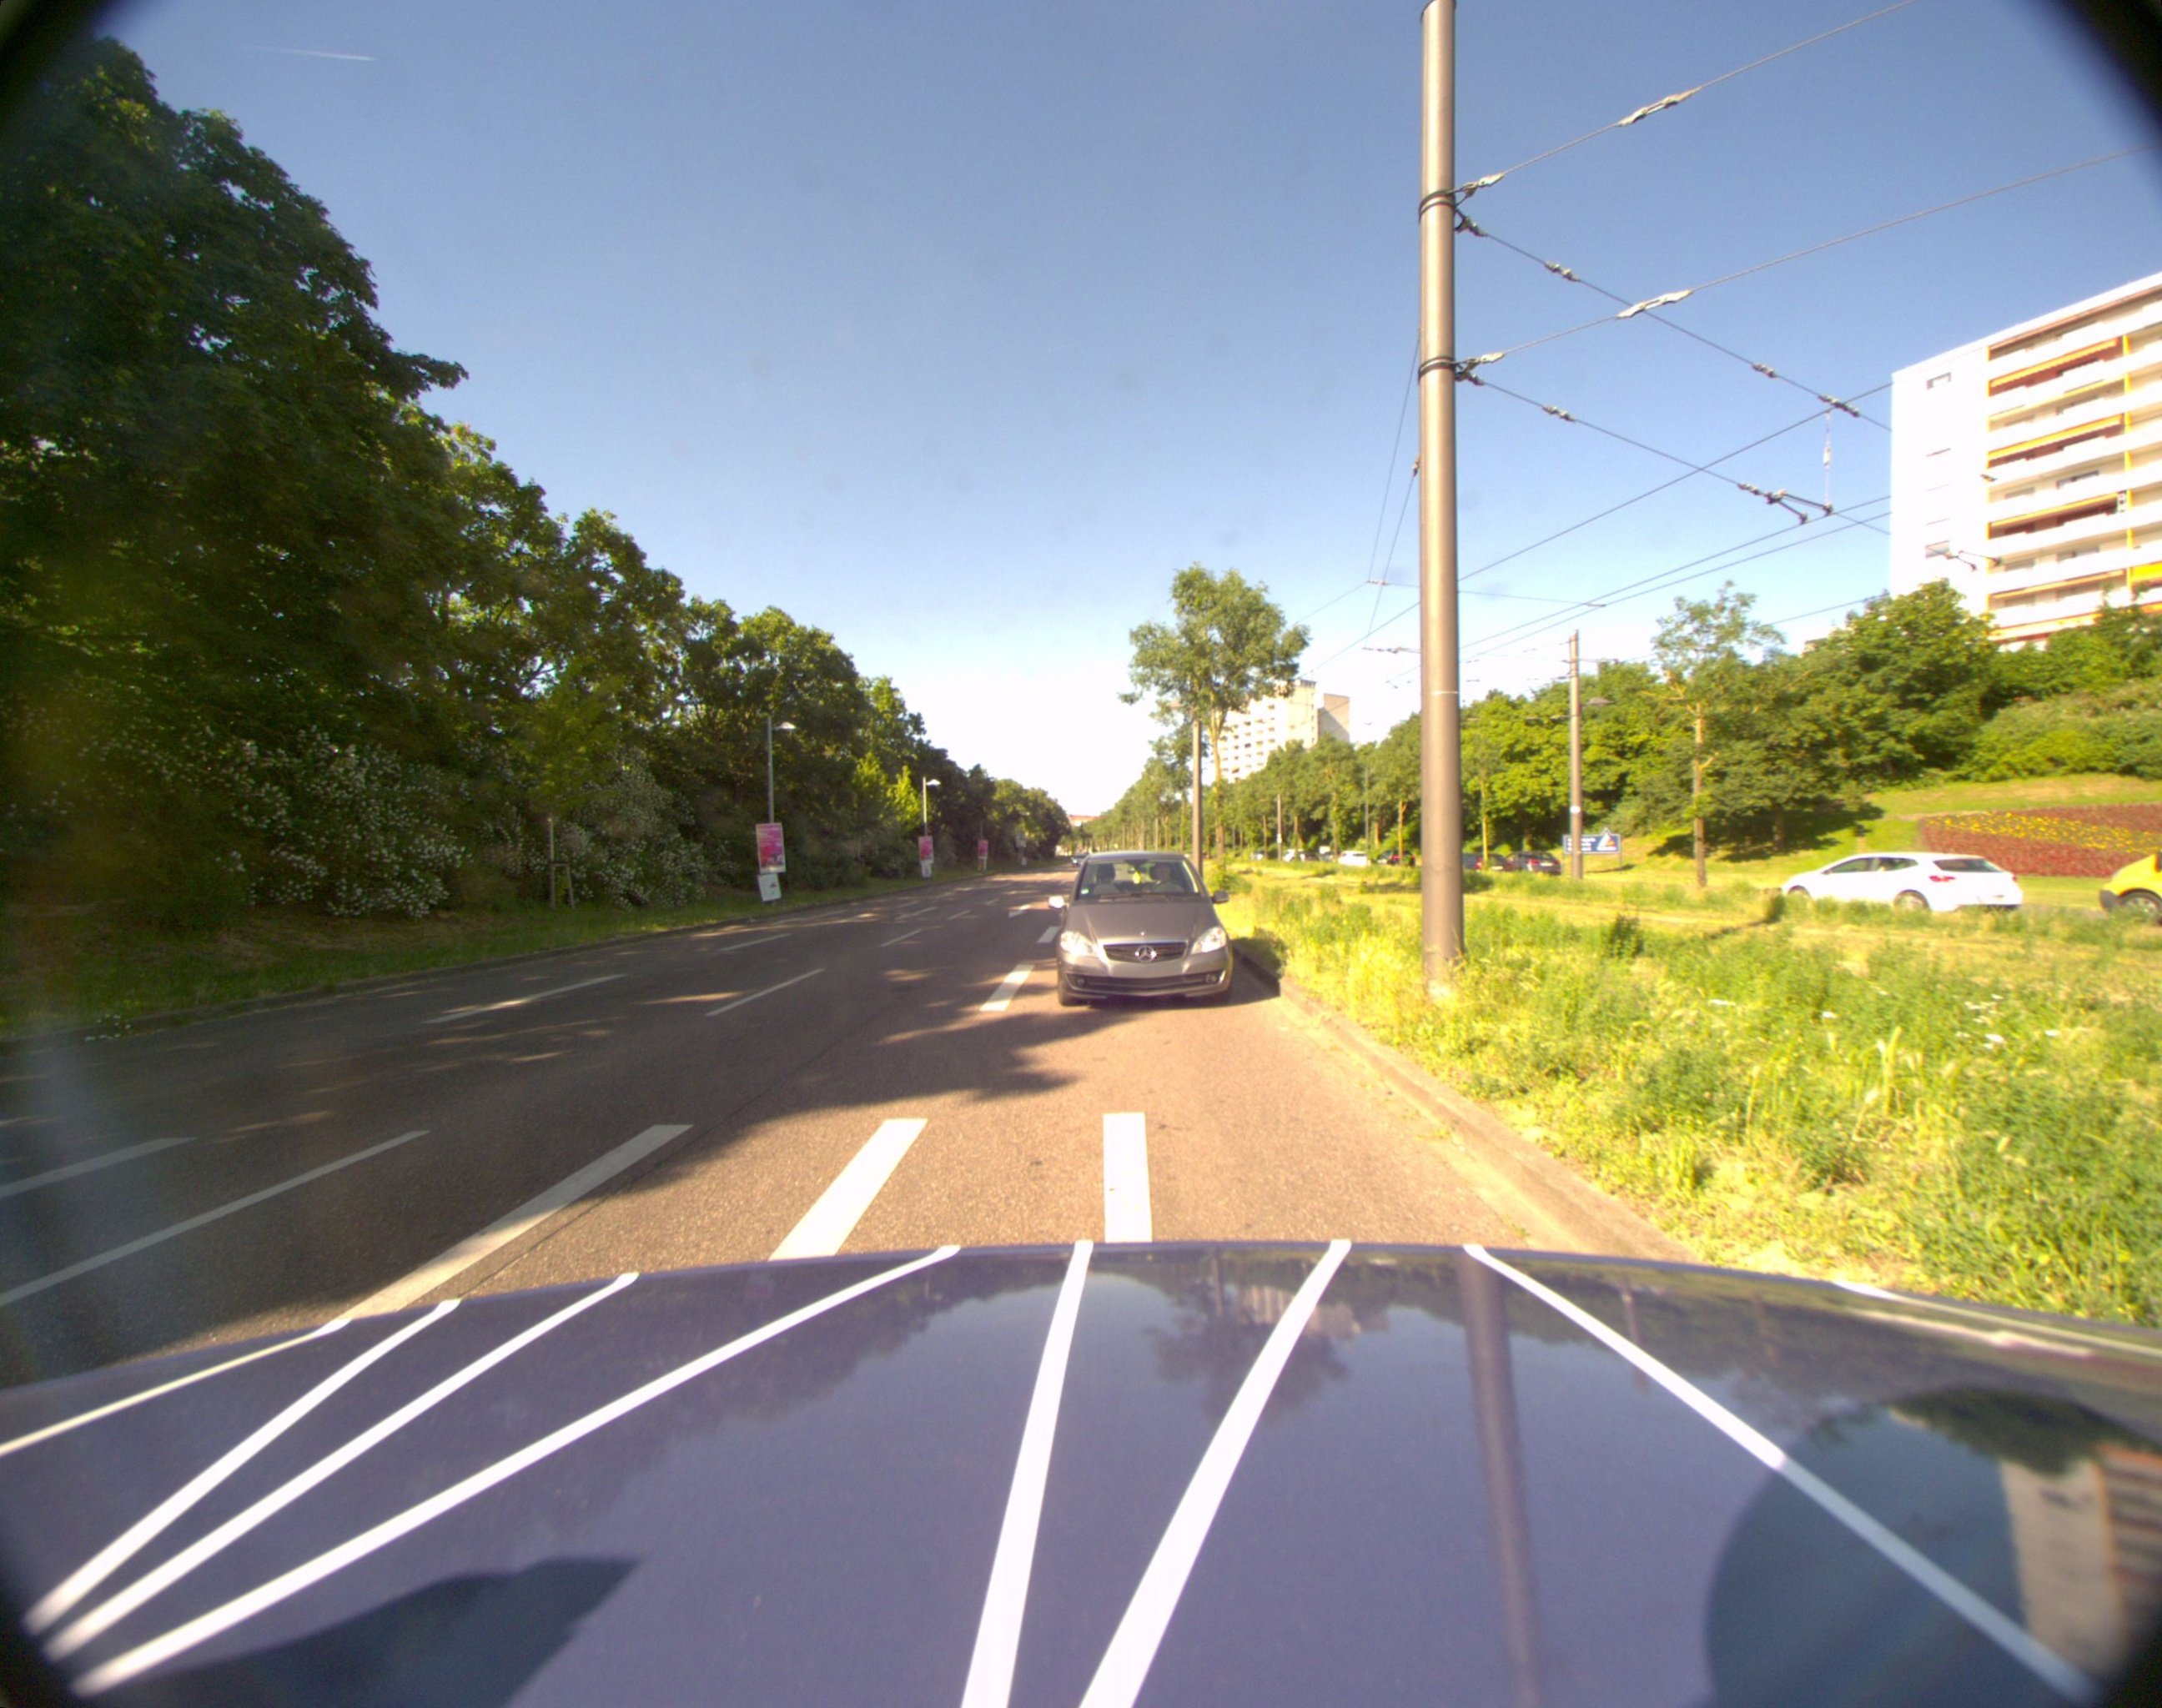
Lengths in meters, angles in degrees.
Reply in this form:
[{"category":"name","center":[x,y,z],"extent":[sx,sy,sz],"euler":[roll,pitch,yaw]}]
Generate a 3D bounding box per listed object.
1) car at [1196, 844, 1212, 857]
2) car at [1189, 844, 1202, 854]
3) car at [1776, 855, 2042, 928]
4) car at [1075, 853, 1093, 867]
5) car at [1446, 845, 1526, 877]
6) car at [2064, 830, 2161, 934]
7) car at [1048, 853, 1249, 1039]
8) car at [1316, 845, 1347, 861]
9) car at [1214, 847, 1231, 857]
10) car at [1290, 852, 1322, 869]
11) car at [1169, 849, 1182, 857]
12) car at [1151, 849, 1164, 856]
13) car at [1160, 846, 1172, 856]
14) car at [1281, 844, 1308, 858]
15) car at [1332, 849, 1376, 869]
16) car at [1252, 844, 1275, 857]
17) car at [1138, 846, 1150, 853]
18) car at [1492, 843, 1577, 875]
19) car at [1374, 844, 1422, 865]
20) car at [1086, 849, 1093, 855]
[{"category":"car","center":[18.369,-0.532,113.645],"extent":[1.882,1.755,4.000],"euler":[-1,0,1]},{"category":"car","center":[21.709,-0.983,144.237],"extent":[1.882,1.755,4.000],"euler":[-1,0,1]},{"category":"car","center":[18.356,0.748,17.168],"extent":[1.693,1.399,4.021],"euler":[-1,0,1]},{"category":"car","center":[0.383,0.618,84.086],"extent":[1.875,1.428,4.594],"euler":[-1,0,2]},{"category":"car","center":[19.306,0.291,36.433],"extent":[1.798,1.408,4.311],"euler":[-1,0,5]},{"category":"car","center":[21.274,0.521,13.232],"extent":[1.998,1.955,4.907],"euler":[0,0,1]},{"category":"car","center":[0.627,0.817,8.686],"extent":[1.759,1.612,3.880],"euler":[-1,0,1]},{"category":"car","center":[22.695,-0.081,68.975],"extent":[1.740,1.368,4.001],"euler":[-1,0,4]},{"category":"car","center":[21.675,-0.267,116.446],"extent":[1.802,1.455,4.000],"euler":[-1,0,1]},{"category":"car","center":[20.159,0.558,68.198],"extent":[1.825,1.353,4.230],"euler":[-1,0,3]},{"category":"car","center":[20.020,-0.283,161.071],"extent":[1.910,1.652,3.997],"euler":[-1,0,-6]},{"category":"car","center":[17.196,-0.295,171.373],"extent":[1.911,1.652,3.996],"euler":[-1,0,-10]},{"category":"car","center":[16.567,-0.566,147.781],"extent":[1.882,1.755,4.000],"euler":[-1,0,1]},{"category":"car","center":[23.034,-0.336,82.105],"extent":[1.847,1.390,4.000],"euler":[-1,0,2]},{"category":"car","center":[19.508,0.338,54.499],"extent":[1.867,1.410,4.000],"euler":[-1,0,3]},{"category":"car","center":[22.996,-0.450,96.046],"extent":[1.998,1.477,4.000],"euler":[-1,0,1]},{"category":"car","center":[16.149,-1.218,195.854],"extent":[1.884,1.755,3.995],"euler":[-1,0,-14]},{"category":"car","center":[22.543,0.229,37.981],"extent":[1.792,1.499,4.241],"euler":[-1,0,2]},{"category":"car","center":[22.926,0.012,55.153],"extent":[1.867,1.410,4.000],"euler":[-1,0,1]},{"category":"car","center":[2.951,-0.601,257.714],"extent":[1.999,2.002,3.998],"euler":[-1,0,-3]}]
